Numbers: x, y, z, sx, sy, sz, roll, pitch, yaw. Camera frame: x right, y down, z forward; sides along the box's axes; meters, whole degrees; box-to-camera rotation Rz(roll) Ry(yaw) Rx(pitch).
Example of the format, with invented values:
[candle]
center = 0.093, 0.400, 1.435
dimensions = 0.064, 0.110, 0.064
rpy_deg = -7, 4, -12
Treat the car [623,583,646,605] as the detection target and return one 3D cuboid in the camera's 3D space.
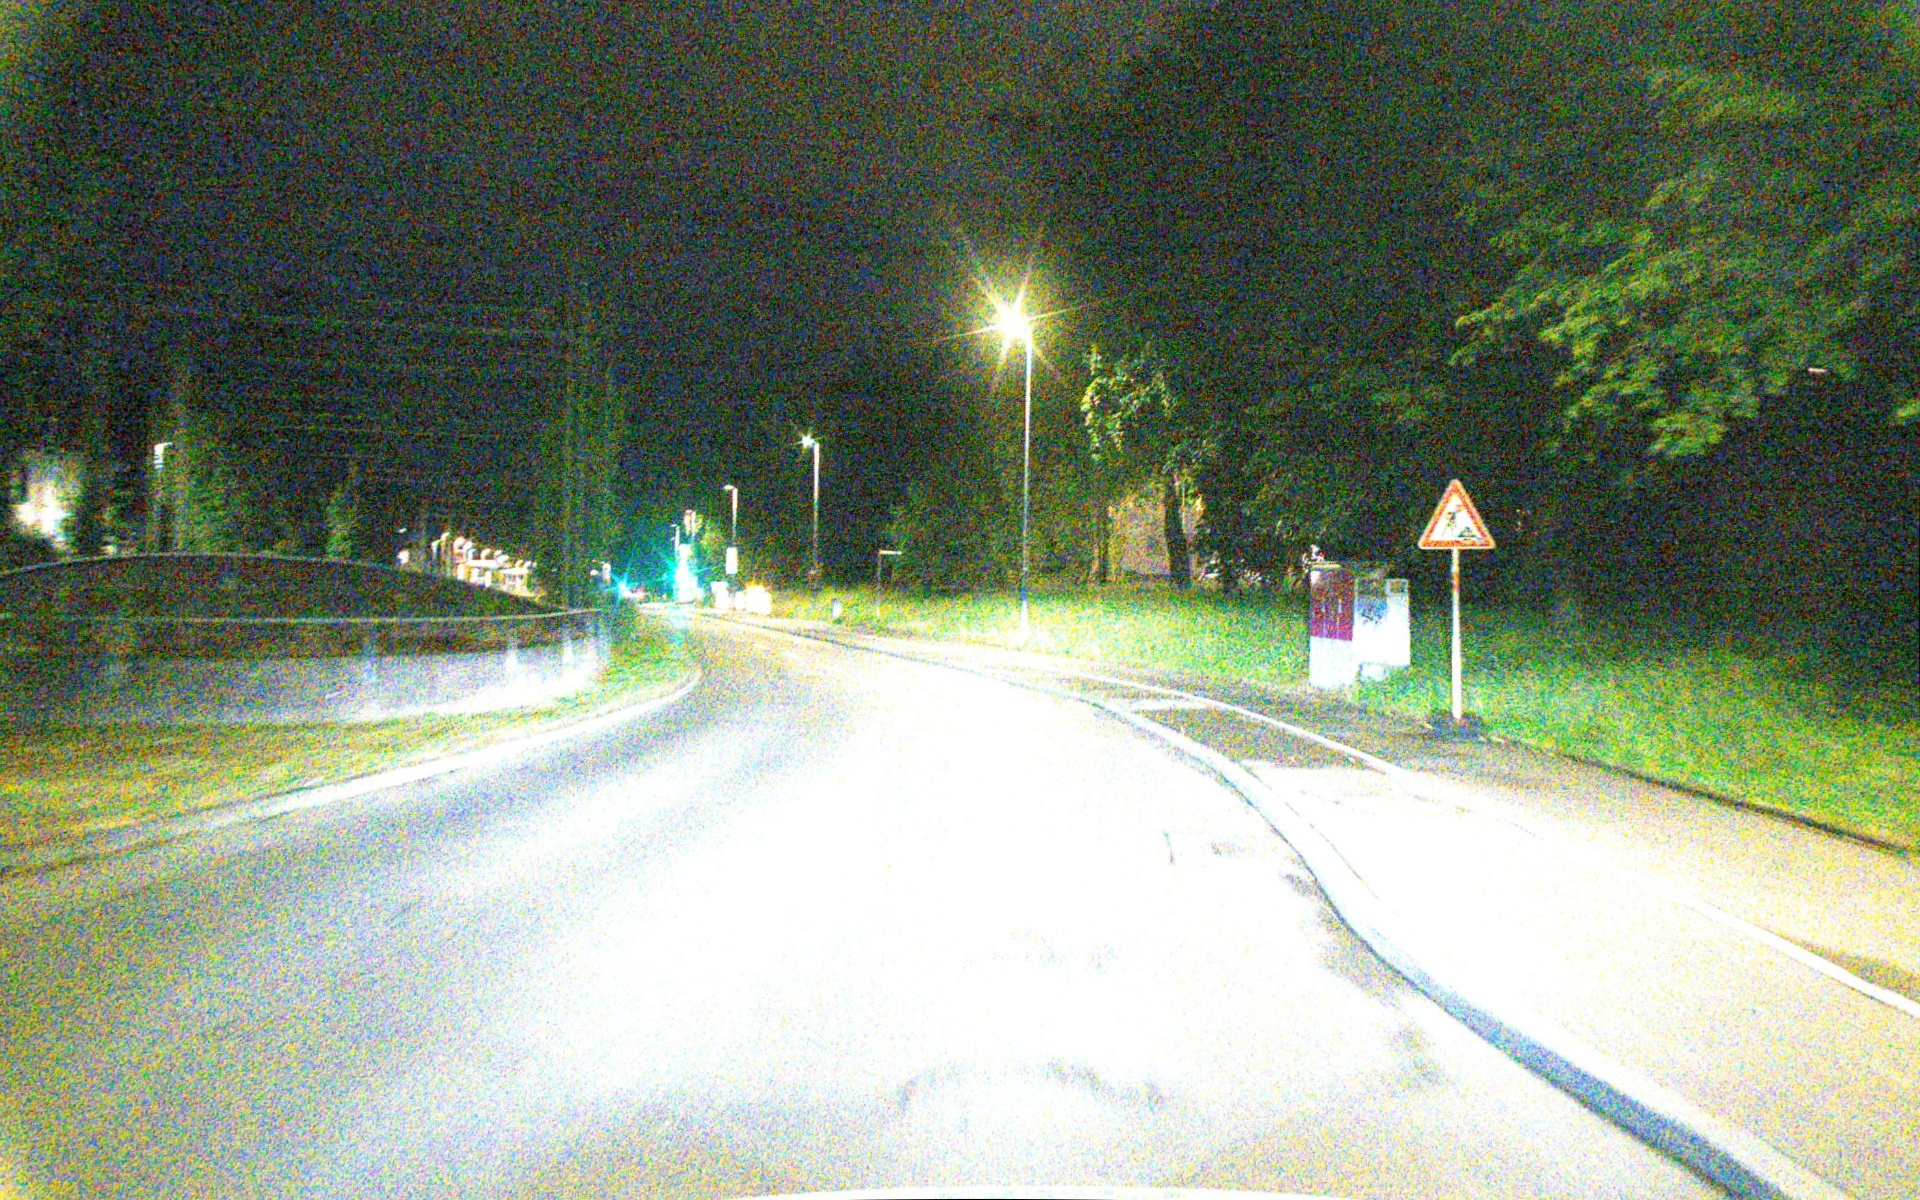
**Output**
[car]
center = -32.324, -0.605, 164.226
dimensions = 2.051, 2.049, 3.987
rpy_deg = 1, 0, -13
